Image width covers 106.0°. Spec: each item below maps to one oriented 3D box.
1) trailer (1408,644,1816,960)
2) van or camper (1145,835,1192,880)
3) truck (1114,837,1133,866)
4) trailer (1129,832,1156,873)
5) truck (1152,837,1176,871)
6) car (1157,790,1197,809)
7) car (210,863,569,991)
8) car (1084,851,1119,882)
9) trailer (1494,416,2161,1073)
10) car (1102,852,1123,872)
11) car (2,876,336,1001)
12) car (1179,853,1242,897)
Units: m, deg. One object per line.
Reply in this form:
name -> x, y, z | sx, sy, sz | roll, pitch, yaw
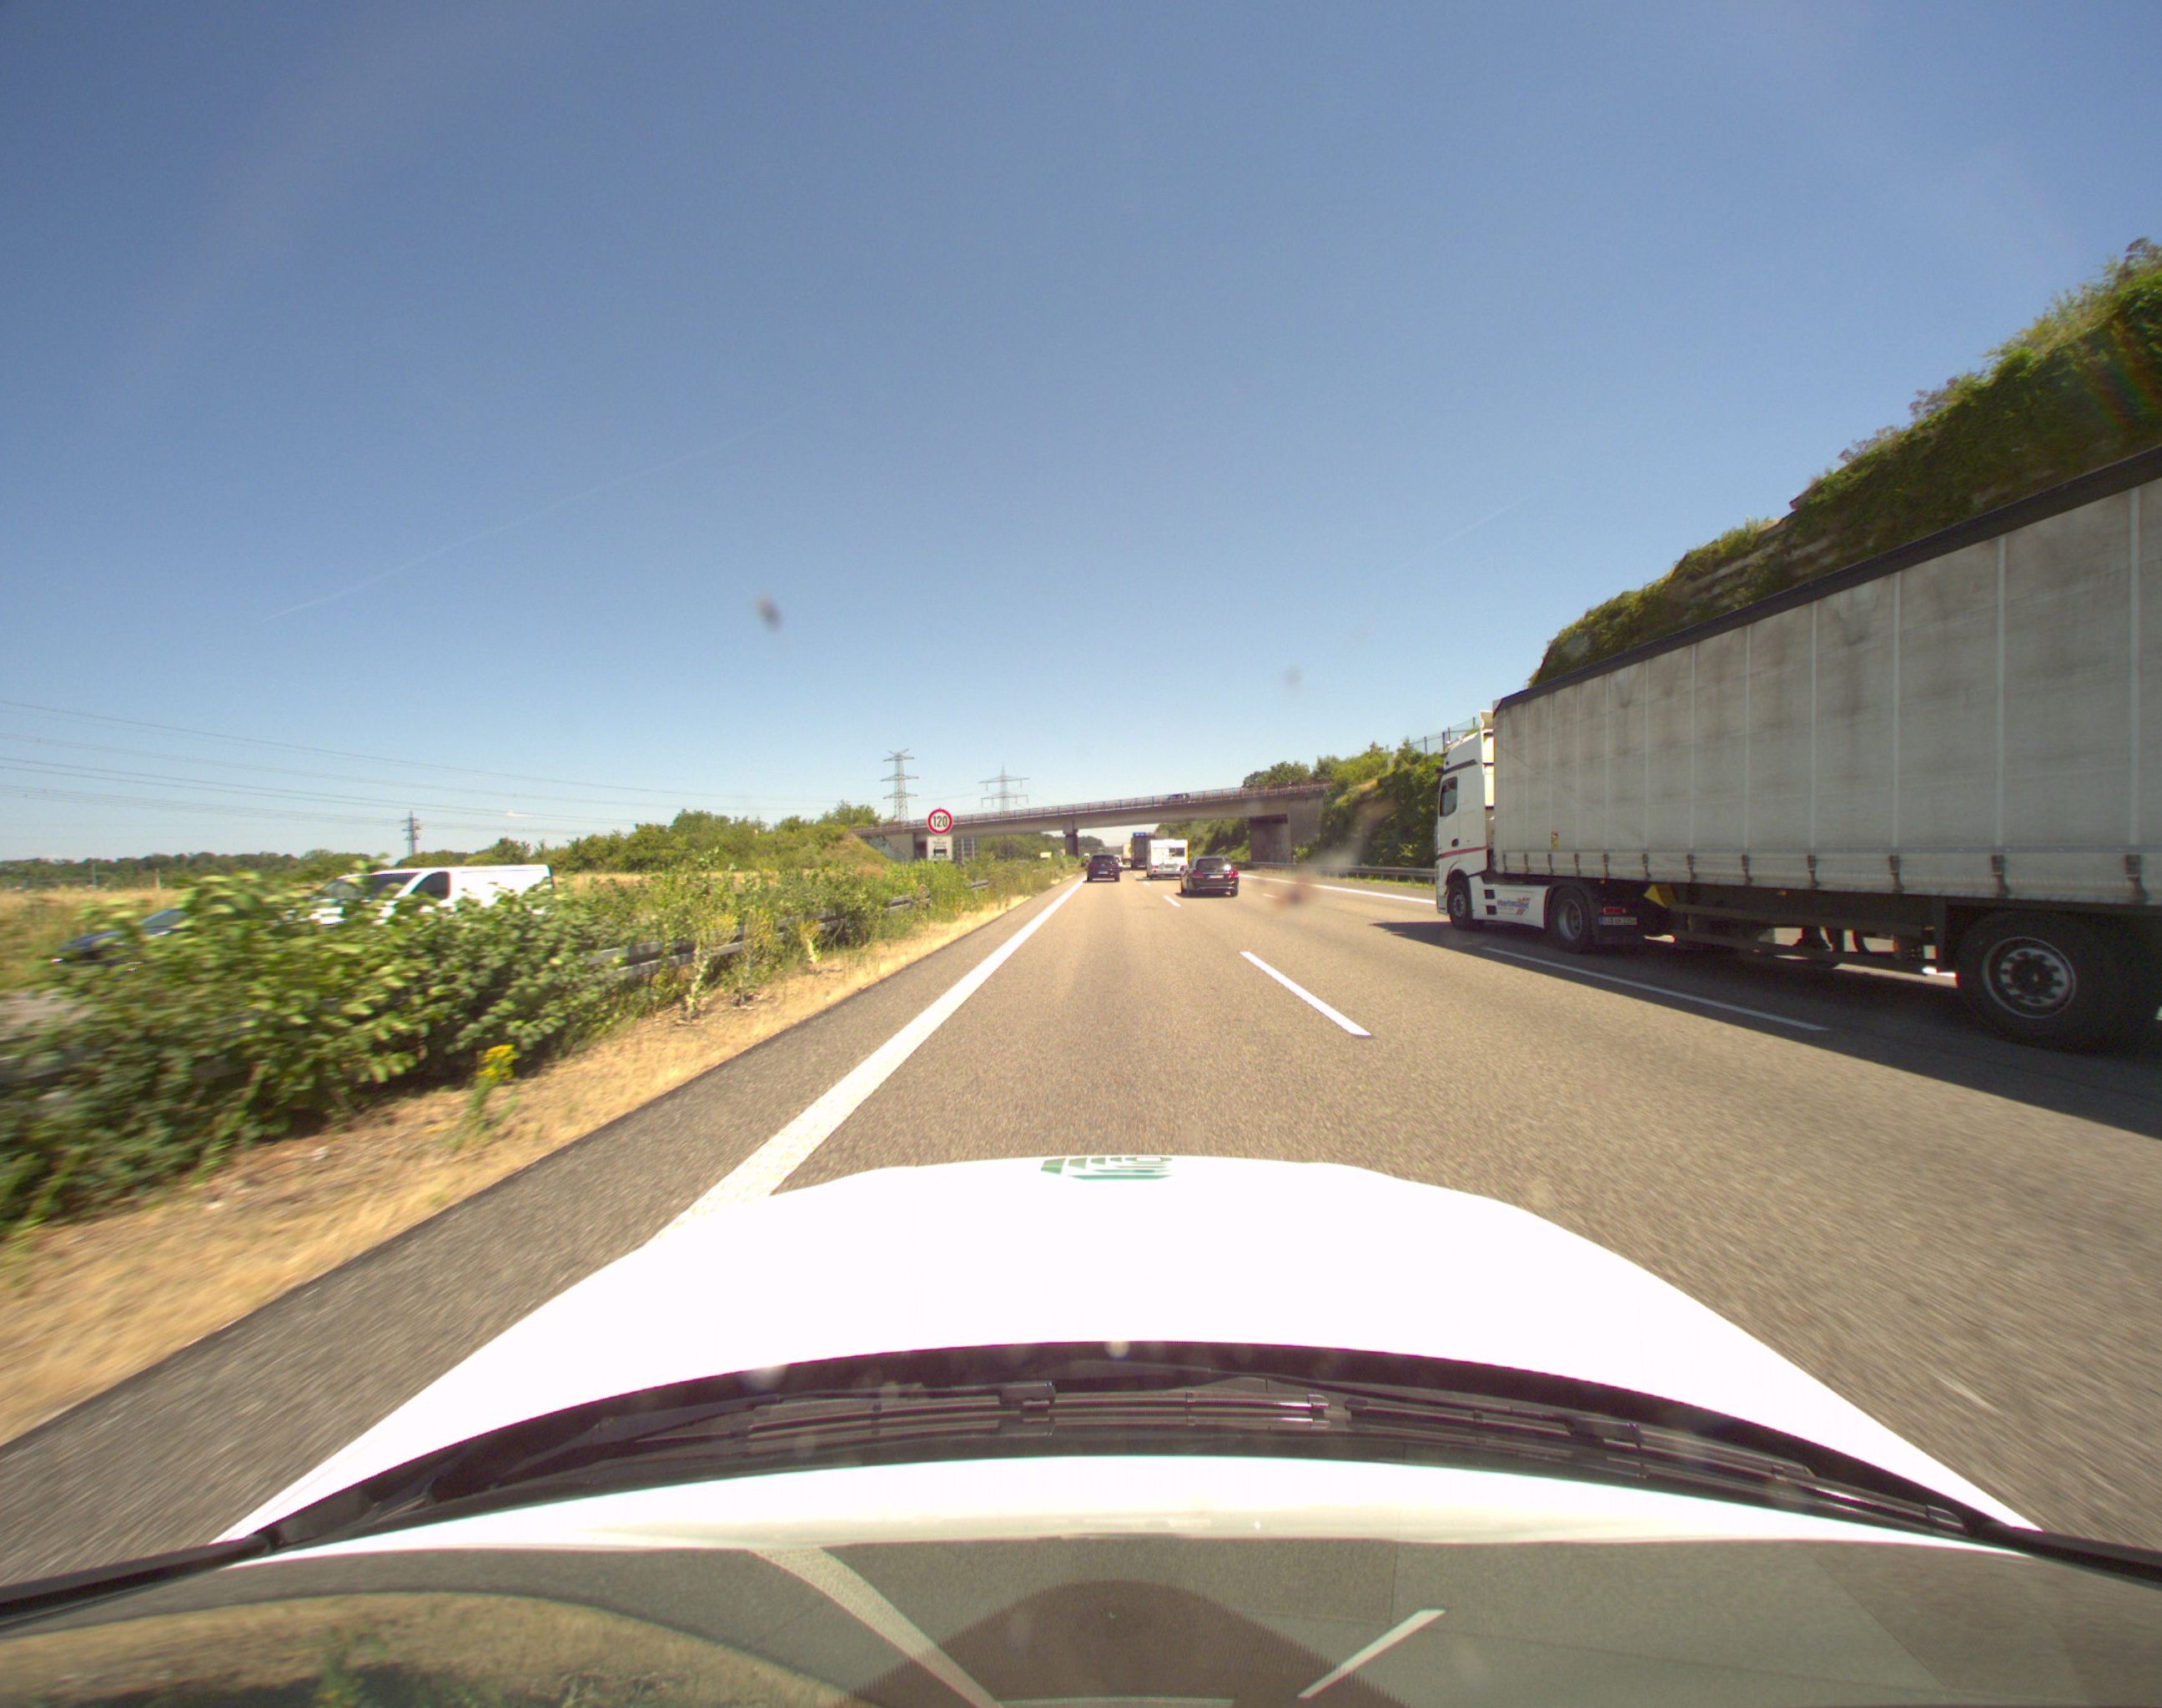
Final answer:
trailer -> 8.366, -0.676, 14.156 | 2.703, 4.102, 6.791 | -2, 0, 1
van or camper -> 5.519, 0.218, 52.309 | 2.430, 2.675, 6.351 | -2, 0, 1
truck -> 8.038, -0.459, 154.742 | 3.498, 5.166, 10.265 | -1, 0, 3
trailer -> 7.837, -0.115, 104.369 | 3.074, 4.885, 12.265 | 0, -1, 3
truck -> 12.621, 0.063, 124.284 | 3.074, 4.885, 8.803 | 0, -1, 3
car -> 10.768, -6.060, 91.654 | 3.948, 1.651, 2.013 | -4, -3, 34
car -> -13.086, 1.219, 16.166 | 1.989, 1.986, 5.840 | -1, 0, 1
car -> 1.243, 0.751, 49.749 | 1.986, 1.772, 4.001 | -2, 0, 1
trailer -> 8.177, -0.698, 7.055 | 2.718, 4.102, 13.193 | -2, 0, 2
car -> 3.060, 0.788, 79.992 | 1.954, 1.814, 4.450 | -2, 0, 1
car -> -17.237, 1.481, 15.755 | 1.889, 1.978, 3.988 | -2, 0, 1
car -> 4.856, 0.743, 31.060 | 1.834, 1.505, 4.741 | -1, 0, 2
